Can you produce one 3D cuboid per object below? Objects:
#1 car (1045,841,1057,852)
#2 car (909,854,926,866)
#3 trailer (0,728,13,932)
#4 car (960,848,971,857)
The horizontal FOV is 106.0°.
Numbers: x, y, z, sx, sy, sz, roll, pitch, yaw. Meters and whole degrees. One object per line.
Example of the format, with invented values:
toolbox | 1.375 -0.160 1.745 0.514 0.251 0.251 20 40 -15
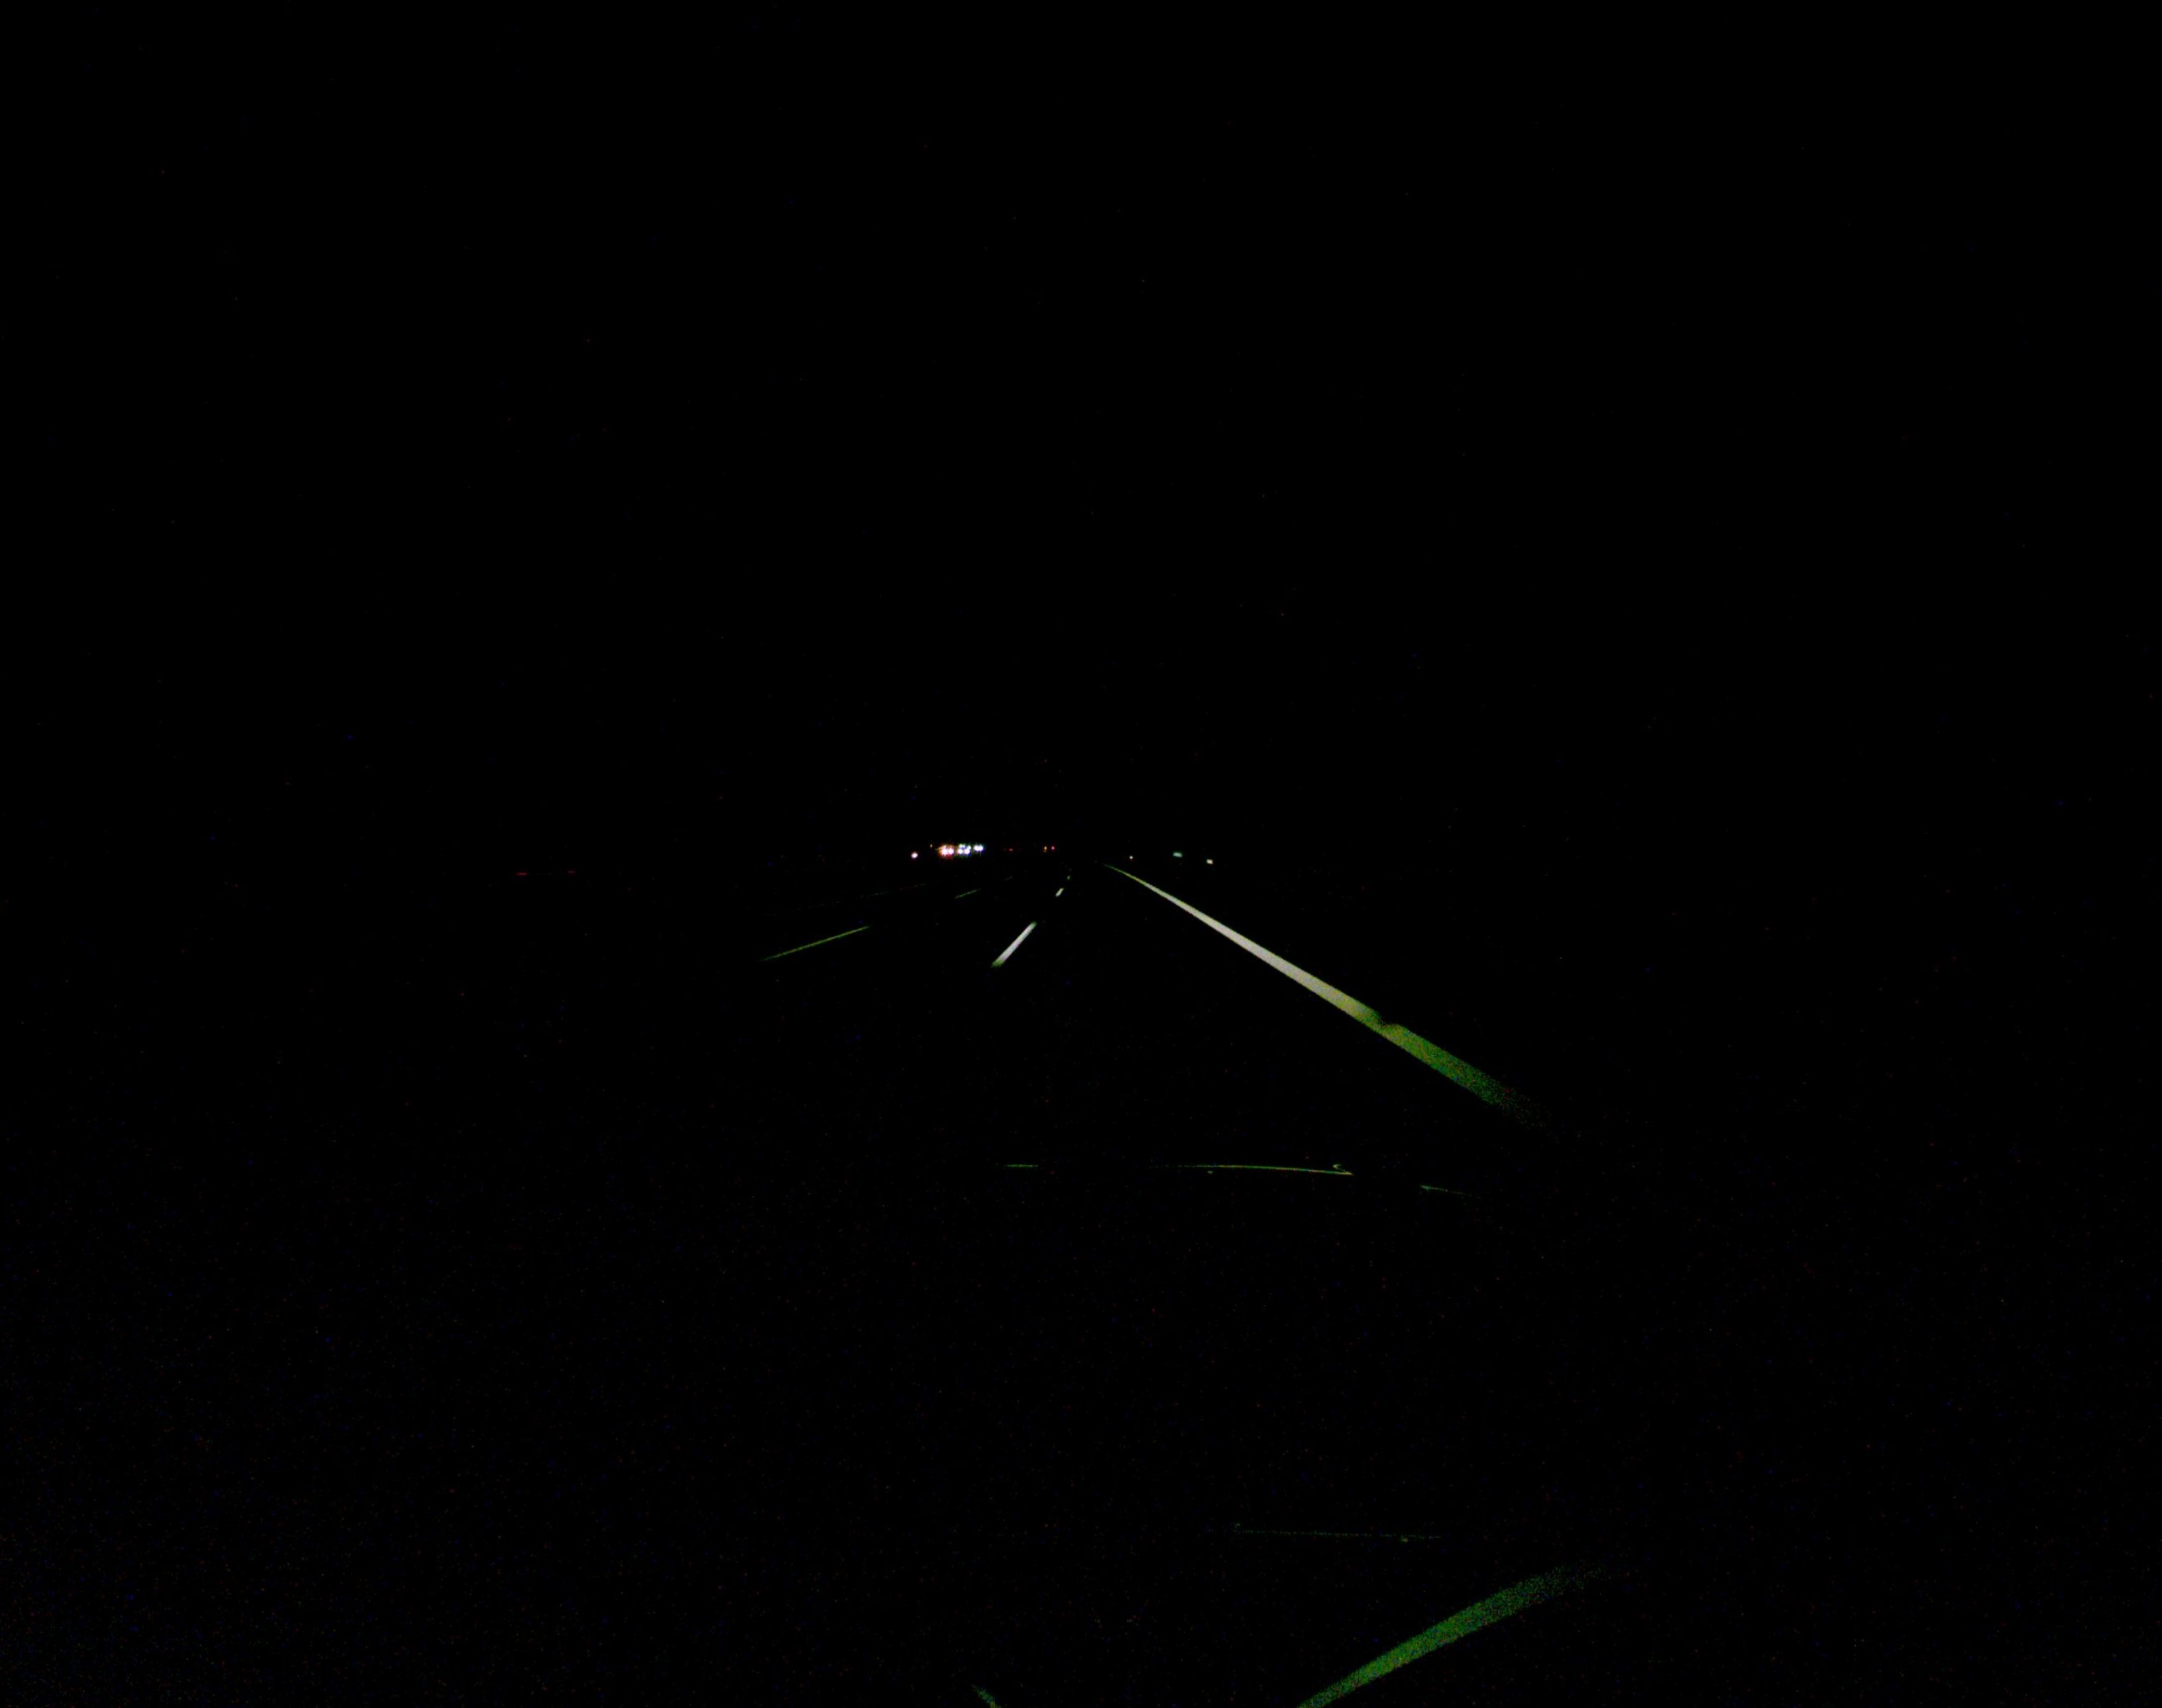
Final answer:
car | -7.577 -1.929 205.493 2.524 2.553 6.038 1 0 -6
car | -25.145 0.901 125.362 1.989 1.726 4.072 -1 0 -3
trailer | -23.637 -0.457 9.482 3.586 4.090 14.126 -1 0 1
car | -25.536 -0.408 180.181 1.989 1.854 4.072 -1 1 -3
